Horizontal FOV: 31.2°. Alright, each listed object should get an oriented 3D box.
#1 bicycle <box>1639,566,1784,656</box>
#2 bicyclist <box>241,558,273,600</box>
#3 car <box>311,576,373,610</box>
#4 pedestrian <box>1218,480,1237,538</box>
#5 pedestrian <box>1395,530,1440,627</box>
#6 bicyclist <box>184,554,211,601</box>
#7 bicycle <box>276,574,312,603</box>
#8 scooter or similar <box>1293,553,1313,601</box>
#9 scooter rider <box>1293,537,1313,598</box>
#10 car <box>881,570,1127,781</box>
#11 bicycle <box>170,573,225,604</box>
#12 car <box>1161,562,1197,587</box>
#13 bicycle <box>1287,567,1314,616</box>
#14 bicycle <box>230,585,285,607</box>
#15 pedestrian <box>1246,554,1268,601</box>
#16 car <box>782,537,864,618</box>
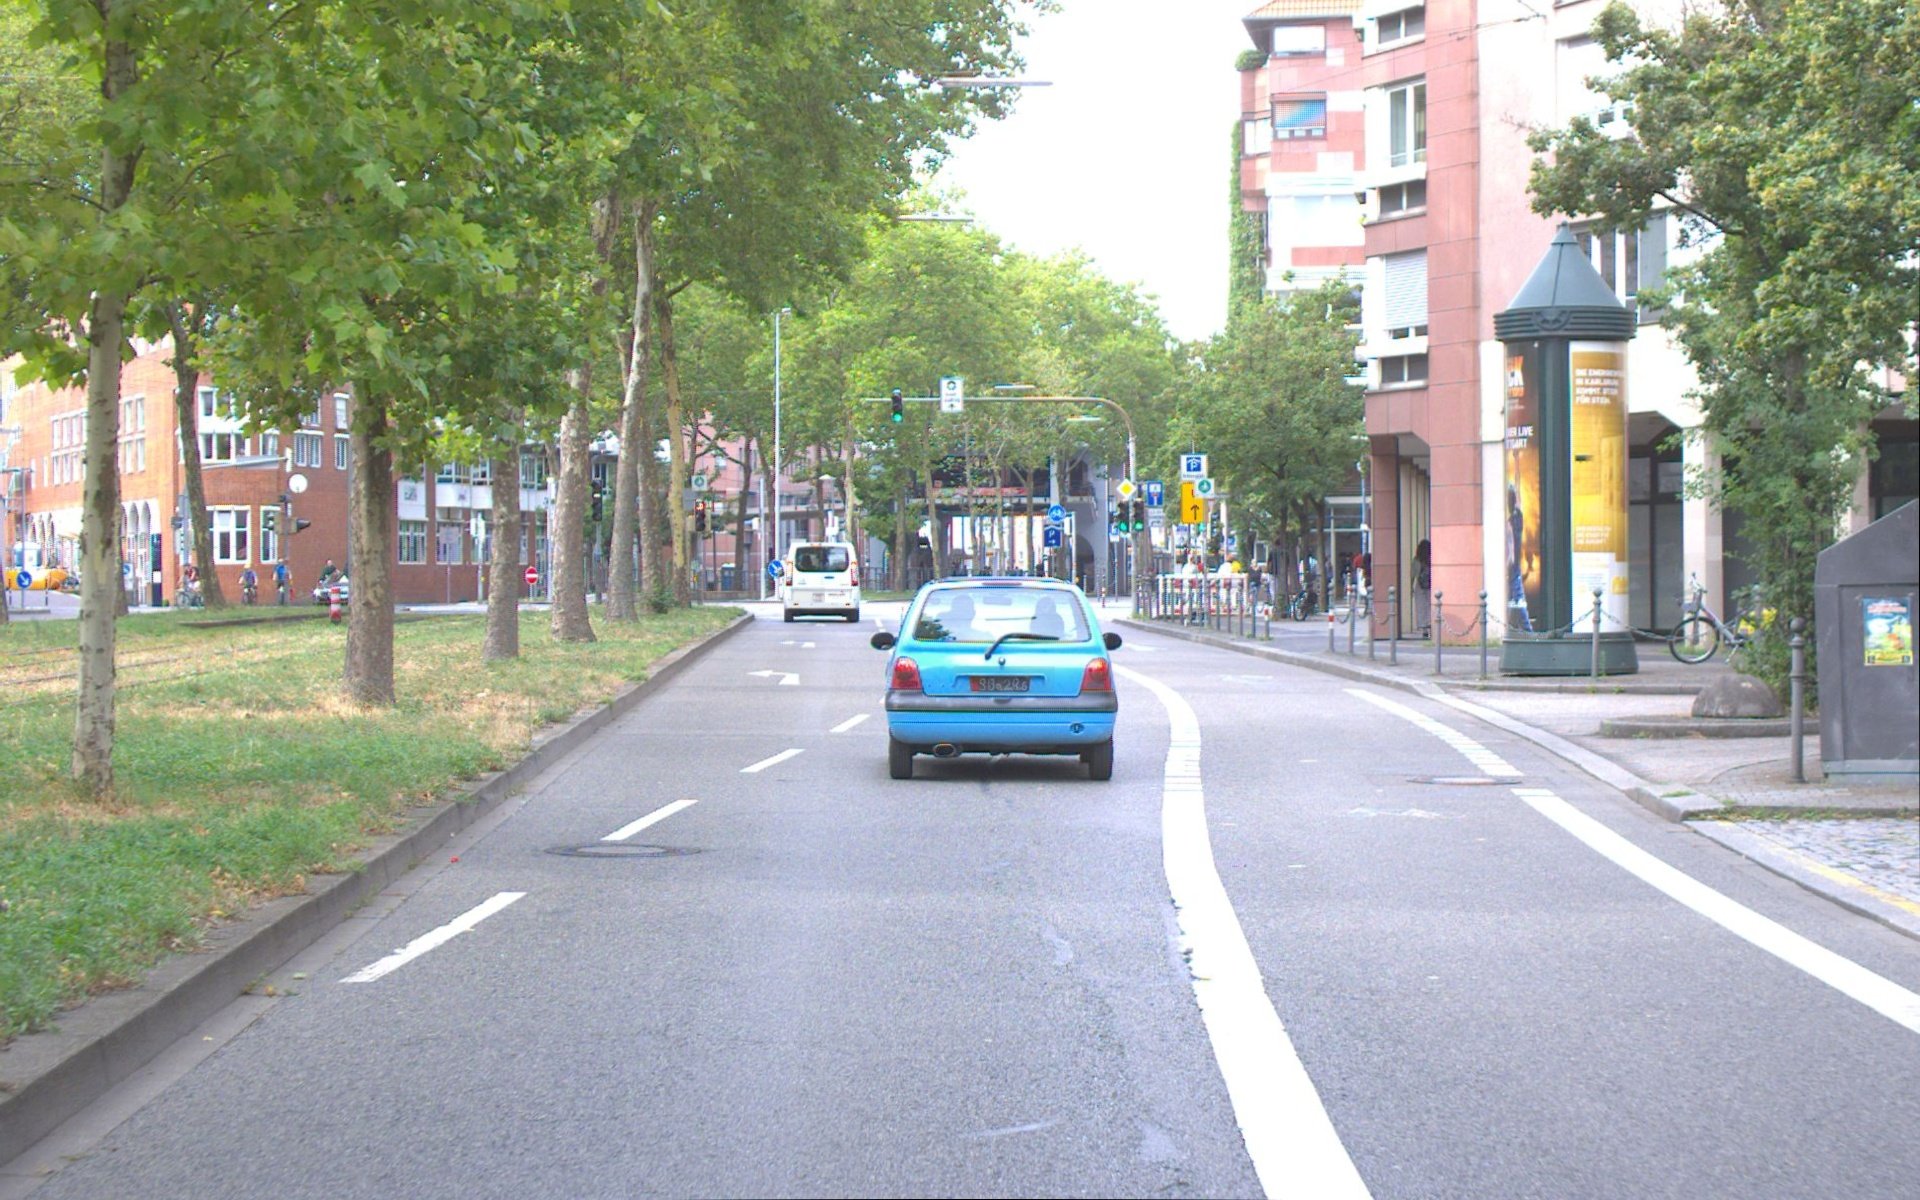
[{"bbox_3d":[9.541,0.142,43.702,1.663,1.125,0.669,-1,0,40],"label":"bicycle"},{"bbox_3d":[-26.804,-0.802,131.023,1.031,1.557,0.582,-1,0,-38],"label":"bicyclist"},{"bbox_3d":[-23.520,-0.288,130.972,1.729,1.241,4.535,0,1,-2],"label":"car"},{"bbox_3d":[7.478,-2.531,96.238,0.517,1.610,0.851,0,0,4],"label":"pedestrian"},{"bbox_3d":[7.791,-0.371,58.548,0.544,1.644,0.824,0,1,25],"label":"pedestrian"},{"bbox_3d":[-27.624,-0.814,124.499,0.782,1.667,0.573,0,1,-38],"label":"bicyclist"},{"bbox_3d":[-25.822,-0.443,133.376,0.691,1.088,1.876,0,1,12],"label":"bicycle"},{"bbox_3d":[8.776,-0.593,87.983,0.474,1.202,1.330,0,0,5],"label":"scooter or similar"},{"bbox_3d":[8.756,-0.828,87.698,0.460,1.552,0.565,0,0,2],"label":"scooter rider"},{"bbox_3d":[0.261,0.490,24.960,1.640,1.381,3.843,0,1,-1],"label":"car"},{"bbox_3d":[-27.622,-0.412,124.495,1.871,1.088,0.578,-1,1,-38],"label":"bicycle"},{"bbox_3d":[14.672,-1.706,230.258,1.887,1.618,3.998,0,0,11],"label":"car"},{"bbox_3d":[7.875,-0.211,79.525,0.612,1.114,1.804,0,1,6],"label":"bicycle"},{"bbox_3d":[-26.780,-0.161,131.046,1.982,0.833,0.579,-1,1,-38],"label":"bicycle"},{"bbox_3d":[9.723,-0.749,112.562,0.676,1.533,0.947,0,0,6],"label":"pedestrian"},{"bbox_3d":[-3.349,-0.584,84.694,1.931,1.919,4.956,0,1,-2],"label":"car"}]
